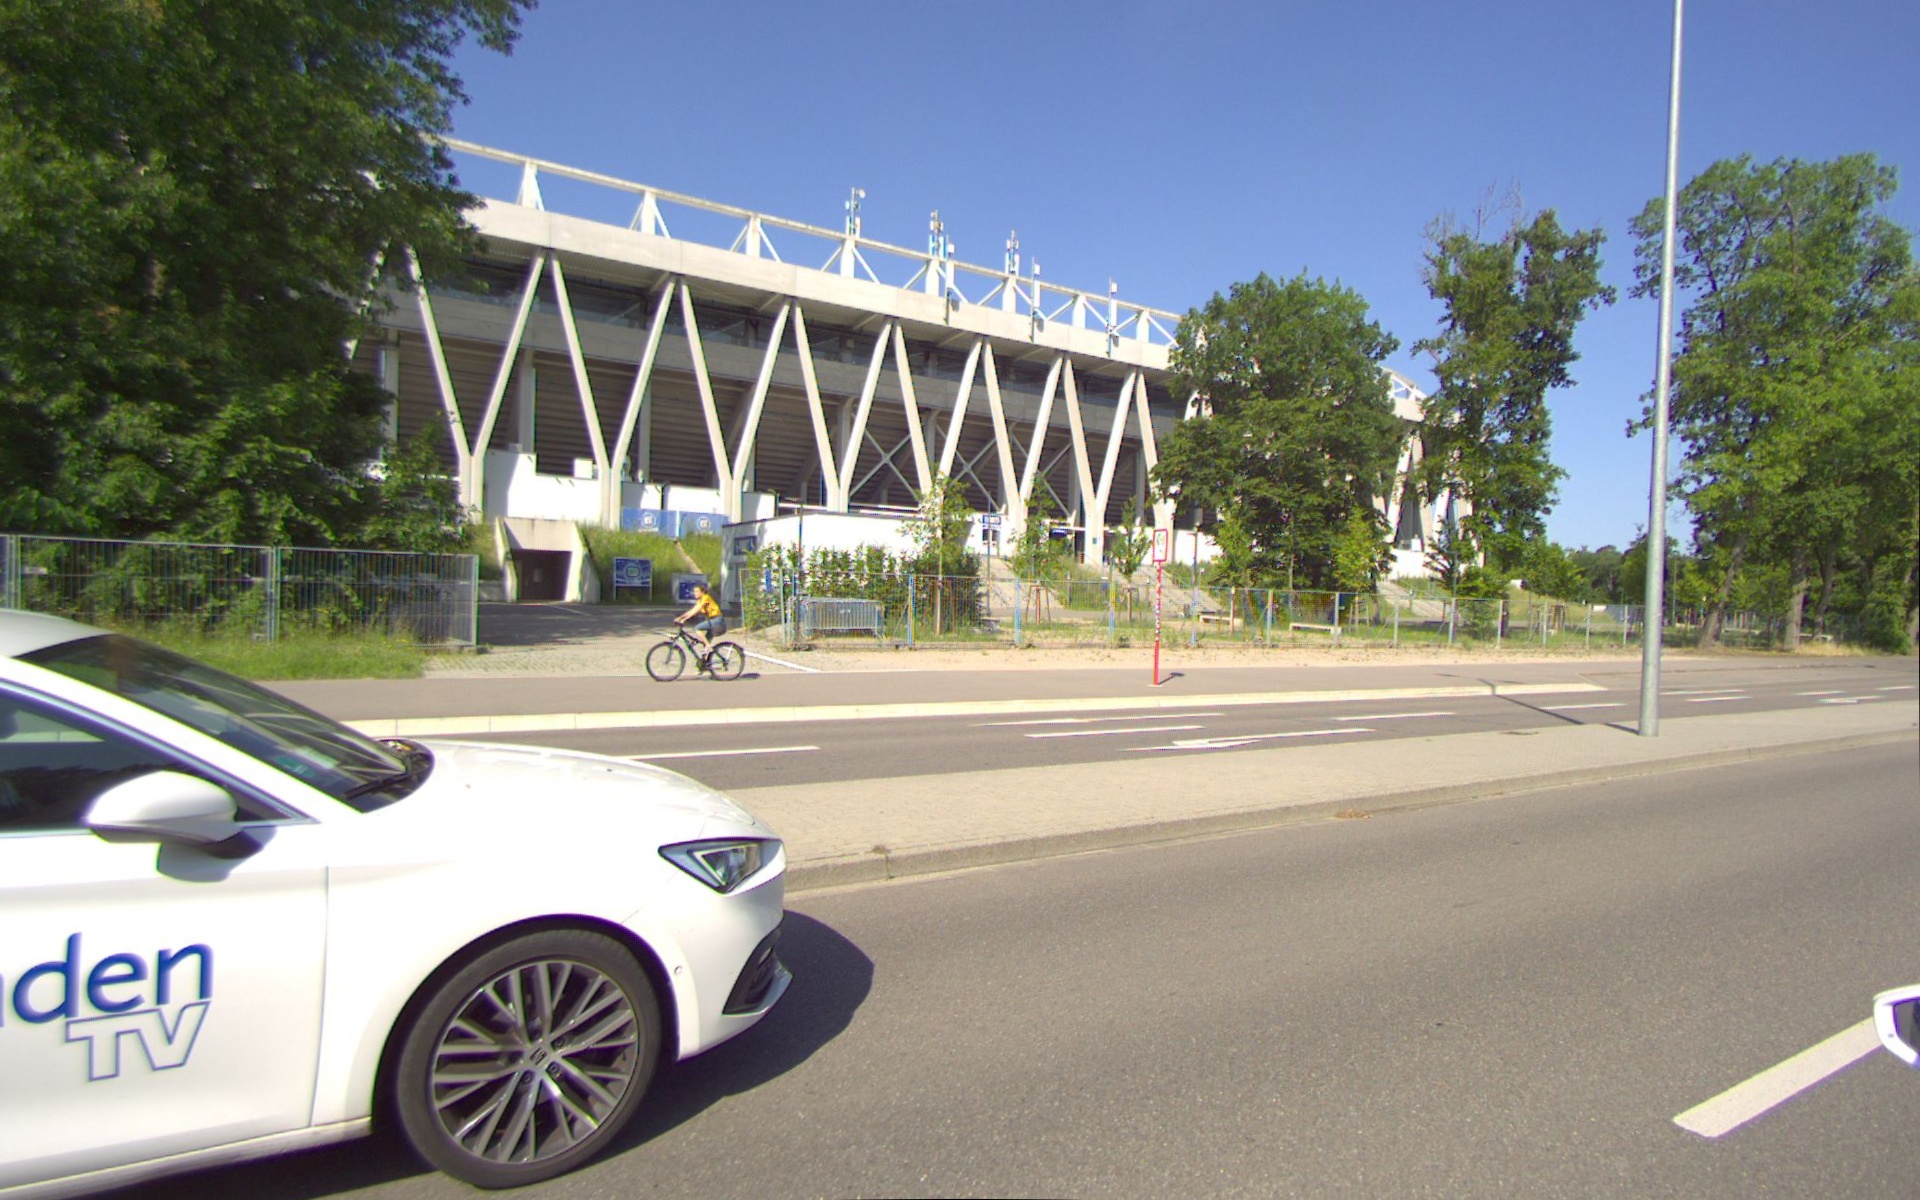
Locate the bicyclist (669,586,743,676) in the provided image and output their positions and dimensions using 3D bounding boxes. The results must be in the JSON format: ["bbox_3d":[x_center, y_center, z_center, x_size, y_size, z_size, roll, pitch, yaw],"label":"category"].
[{"bbox_3d":[-4.379,0.522,17.310,1.046,1.487,0.656,1,2,-33],"label":"bicyclist"}]

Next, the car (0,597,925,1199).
[{"bbox_3d":[-2.539,0.719,2.584,4.666,1.445,1.716,1,-1,-31],"label":"car"}]

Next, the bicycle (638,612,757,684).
[{"bbox_3d":[-4.500,0.812,17.287,1.858,1.151,0.656,1,2,-33],"label":"bicycle"}]
